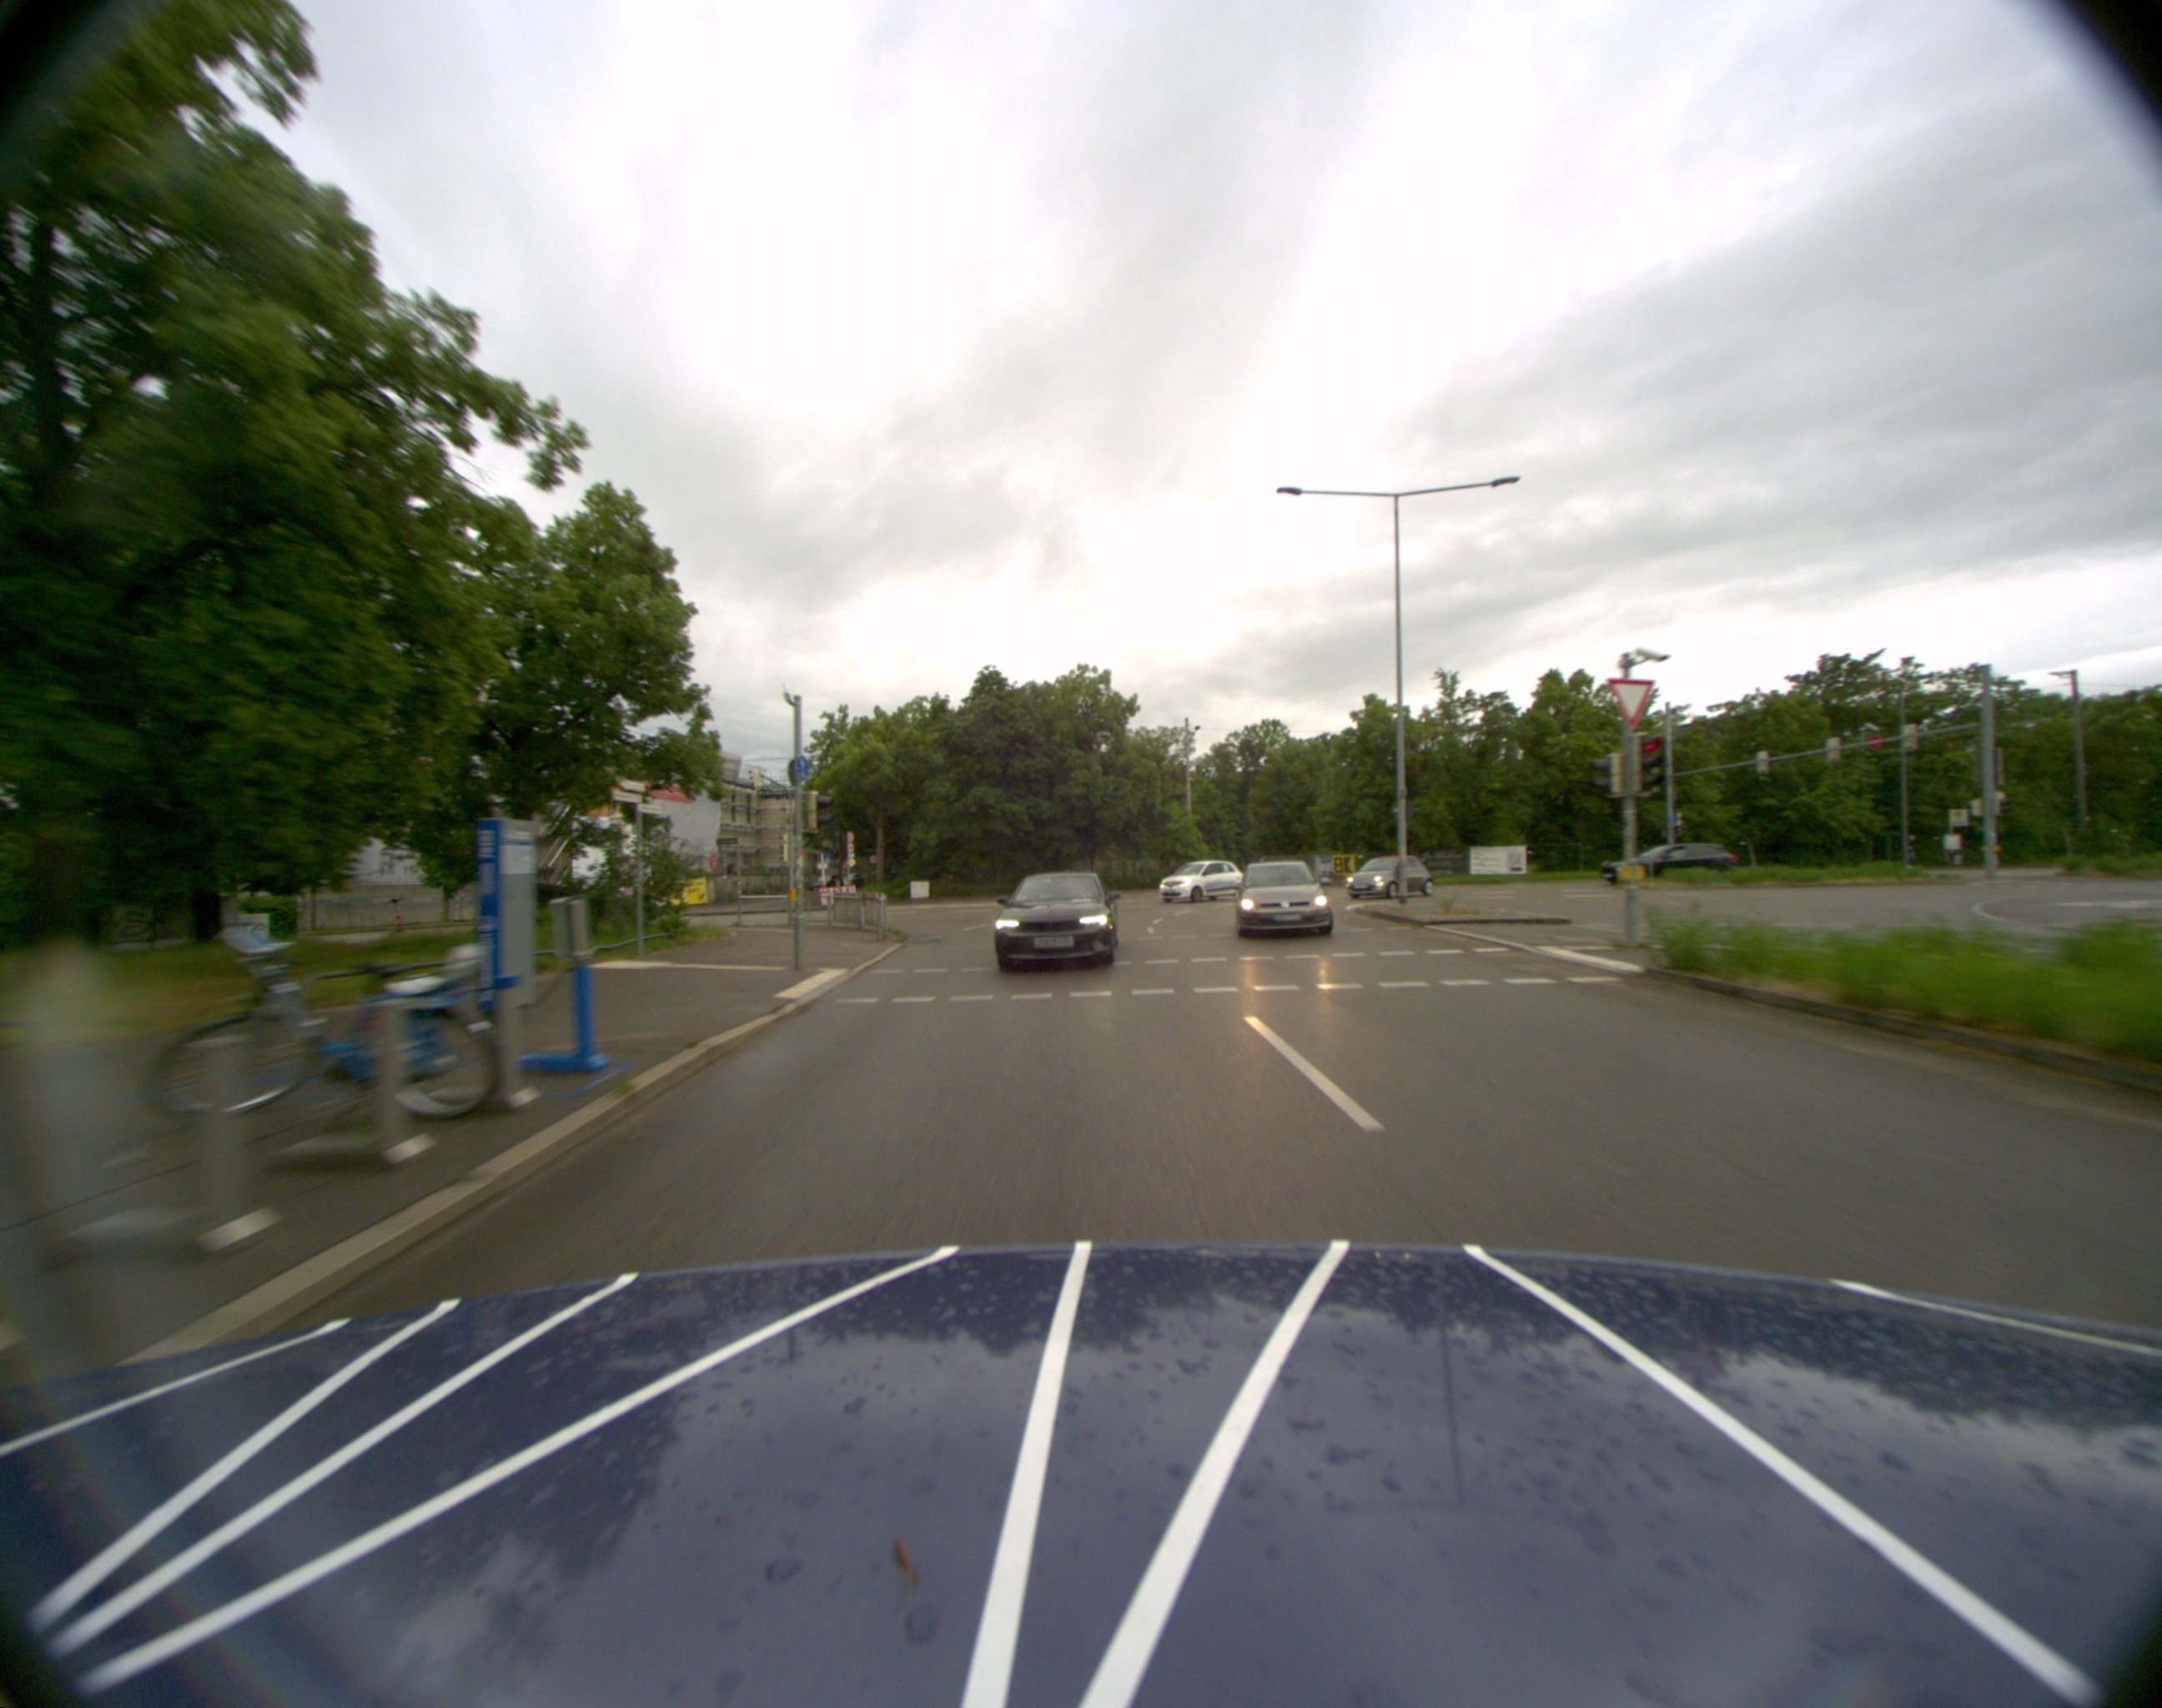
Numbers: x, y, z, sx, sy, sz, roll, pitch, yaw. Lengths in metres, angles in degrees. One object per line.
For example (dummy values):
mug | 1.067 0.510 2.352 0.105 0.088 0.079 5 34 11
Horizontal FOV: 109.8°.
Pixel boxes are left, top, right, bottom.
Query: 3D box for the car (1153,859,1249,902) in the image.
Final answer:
car | 4.714 1.008 29.660 3.586 1.511 1.642 -1 -1 -37

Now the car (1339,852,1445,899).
car | 11.205 0.746 27.349 3.663 1.520 1.667 -2 -1 -32

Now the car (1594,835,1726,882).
car | 23.977 0.185 31.576 3.996 1.761 1.907 -2 0 1

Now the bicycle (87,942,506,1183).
bicycle | -4.121 1.084 4.077 1.600 1.125 0.556 2 1 -3

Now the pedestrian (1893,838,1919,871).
pedestrian | 47.605 0.051 43.848 0.699 1.872 0.678 -2 0 2

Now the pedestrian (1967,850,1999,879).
pedestrian | 53.024 0.638 44.668 0.831 1.666 0.822 -2 0 2

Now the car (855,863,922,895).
car | -13.345 1.708 52.855 4.008 2.001 1.995 -1 -1 -43

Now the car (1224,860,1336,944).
car | 4.147 0.900 15.827 1.902 1.431 4.005 -3 -1 15

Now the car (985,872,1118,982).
car | -0.340 1.080 12.948 1.804 1.422 4.521 -2 -1 2
